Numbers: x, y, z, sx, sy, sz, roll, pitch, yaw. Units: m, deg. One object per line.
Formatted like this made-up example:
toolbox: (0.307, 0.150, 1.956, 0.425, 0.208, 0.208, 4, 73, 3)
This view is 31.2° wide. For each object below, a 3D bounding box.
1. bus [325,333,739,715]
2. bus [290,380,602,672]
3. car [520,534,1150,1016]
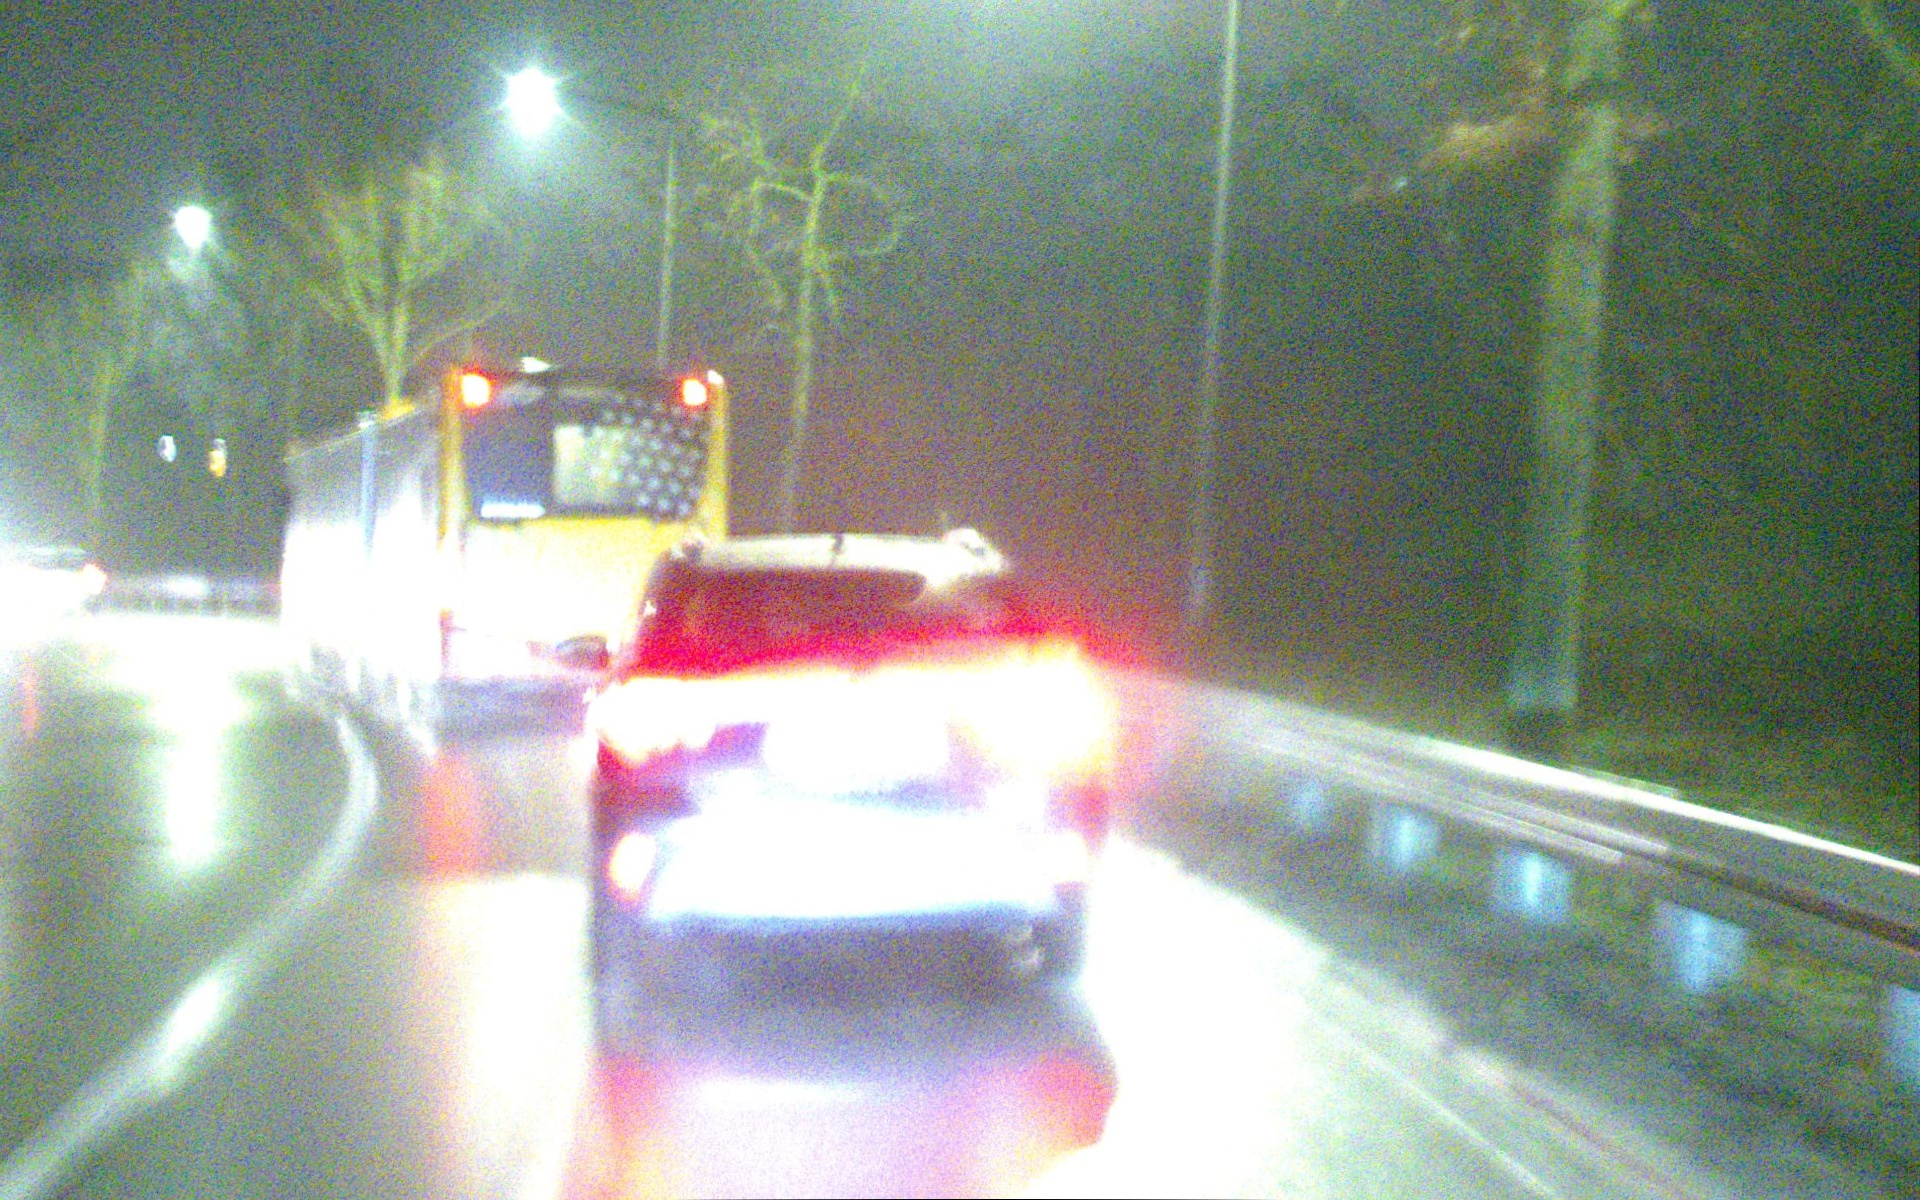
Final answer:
bus: (-4.423, -0.736, 33.558, 3.042, 3.201, 9.053, -1, 1, -13)
bus: (-6.518, -0.909, 42.381, 3.042, 3.201, 9.053, -1, 1, -13)
car: (-0.526, 0.525, 12.948, 1.993, 1.519, 4.001, 1, 1, -4)
